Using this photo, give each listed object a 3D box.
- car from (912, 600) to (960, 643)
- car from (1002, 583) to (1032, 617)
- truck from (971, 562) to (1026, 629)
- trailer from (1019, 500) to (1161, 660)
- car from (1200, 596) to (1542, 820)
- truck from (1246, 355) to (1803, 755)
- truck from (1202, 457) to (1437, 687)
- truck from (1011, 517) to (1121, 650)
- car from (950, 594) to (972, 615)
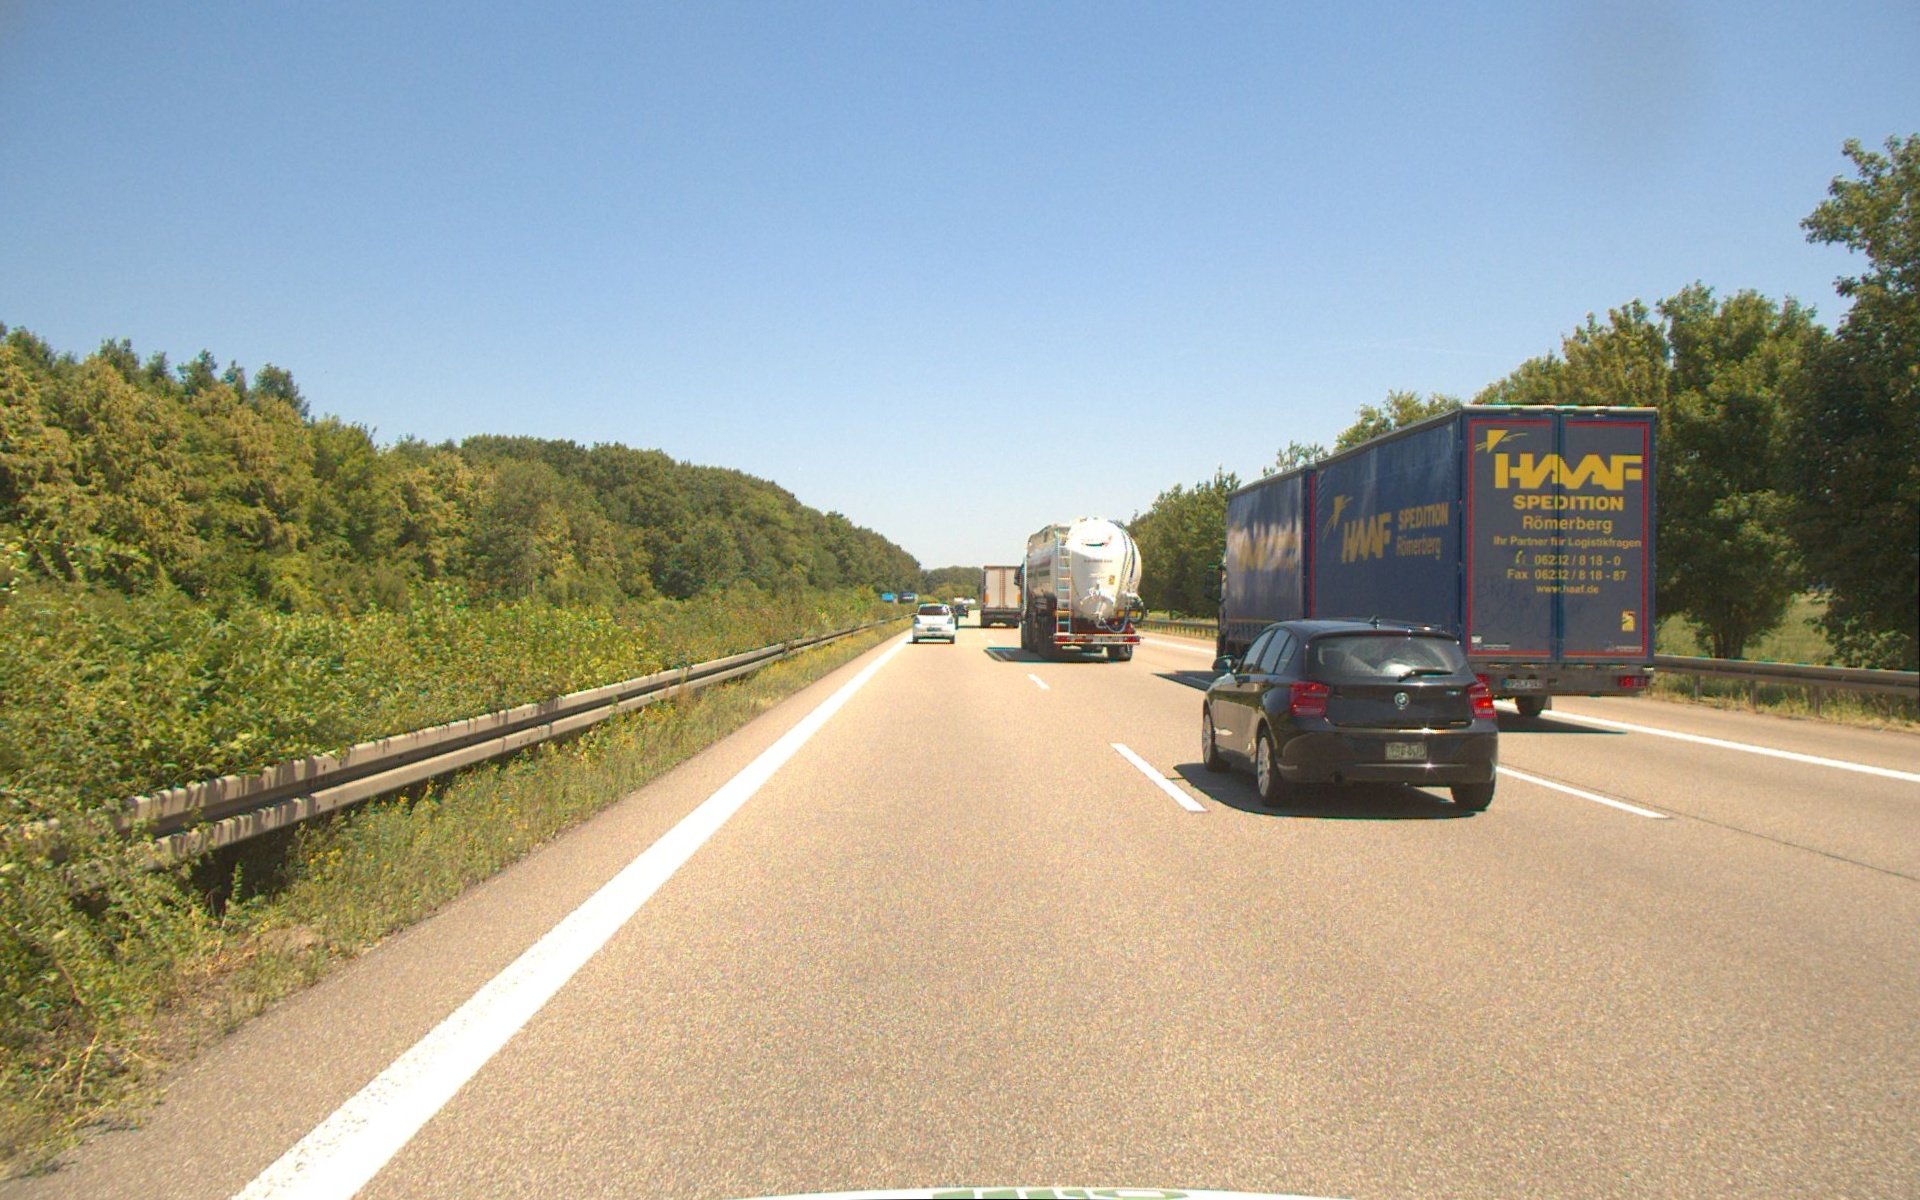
[{"bbox_3d":[-0.979,0.830,65.196,1.763,1.579,3.608,1,0,-2],"label":"car"},{"bbox_3d":[5.599,0.018,162.422,2.615,3.245,5.566,1,0,-1],"label":"car"},{"bbox_3d":[2.559,-0.293,113.924,3.325,4.287,12.081,1,0,-1],"label":"truck"},{"bbox_3d":[3.631,-0.536,49.551,2.853,4.140,12.414,1,0,-2],"label":"trailer"},{"bbox_3d":[3.187,0.758,13.649,1.812,1.549,3.957,1,0,0],"label":"car"},{"bbox_3d":[7.379,-0.501,25.420,3.045,4.211,15.508,1,0,-1],"label":"truck"},{"bbox_3d":[7.276,-0.528,34.753,3.045,4.211,8.055,1,0,-1],"label":"truck"},{"bbox_3d":[3.437,-0.529,55.592,2.854,4.150,7.191,1,0,-3],"label":"truck"},{"bbox_3d":[0.097,0.525,196.161,2.425,2.395,5.180,1,0,-1],"label":"car"}]
